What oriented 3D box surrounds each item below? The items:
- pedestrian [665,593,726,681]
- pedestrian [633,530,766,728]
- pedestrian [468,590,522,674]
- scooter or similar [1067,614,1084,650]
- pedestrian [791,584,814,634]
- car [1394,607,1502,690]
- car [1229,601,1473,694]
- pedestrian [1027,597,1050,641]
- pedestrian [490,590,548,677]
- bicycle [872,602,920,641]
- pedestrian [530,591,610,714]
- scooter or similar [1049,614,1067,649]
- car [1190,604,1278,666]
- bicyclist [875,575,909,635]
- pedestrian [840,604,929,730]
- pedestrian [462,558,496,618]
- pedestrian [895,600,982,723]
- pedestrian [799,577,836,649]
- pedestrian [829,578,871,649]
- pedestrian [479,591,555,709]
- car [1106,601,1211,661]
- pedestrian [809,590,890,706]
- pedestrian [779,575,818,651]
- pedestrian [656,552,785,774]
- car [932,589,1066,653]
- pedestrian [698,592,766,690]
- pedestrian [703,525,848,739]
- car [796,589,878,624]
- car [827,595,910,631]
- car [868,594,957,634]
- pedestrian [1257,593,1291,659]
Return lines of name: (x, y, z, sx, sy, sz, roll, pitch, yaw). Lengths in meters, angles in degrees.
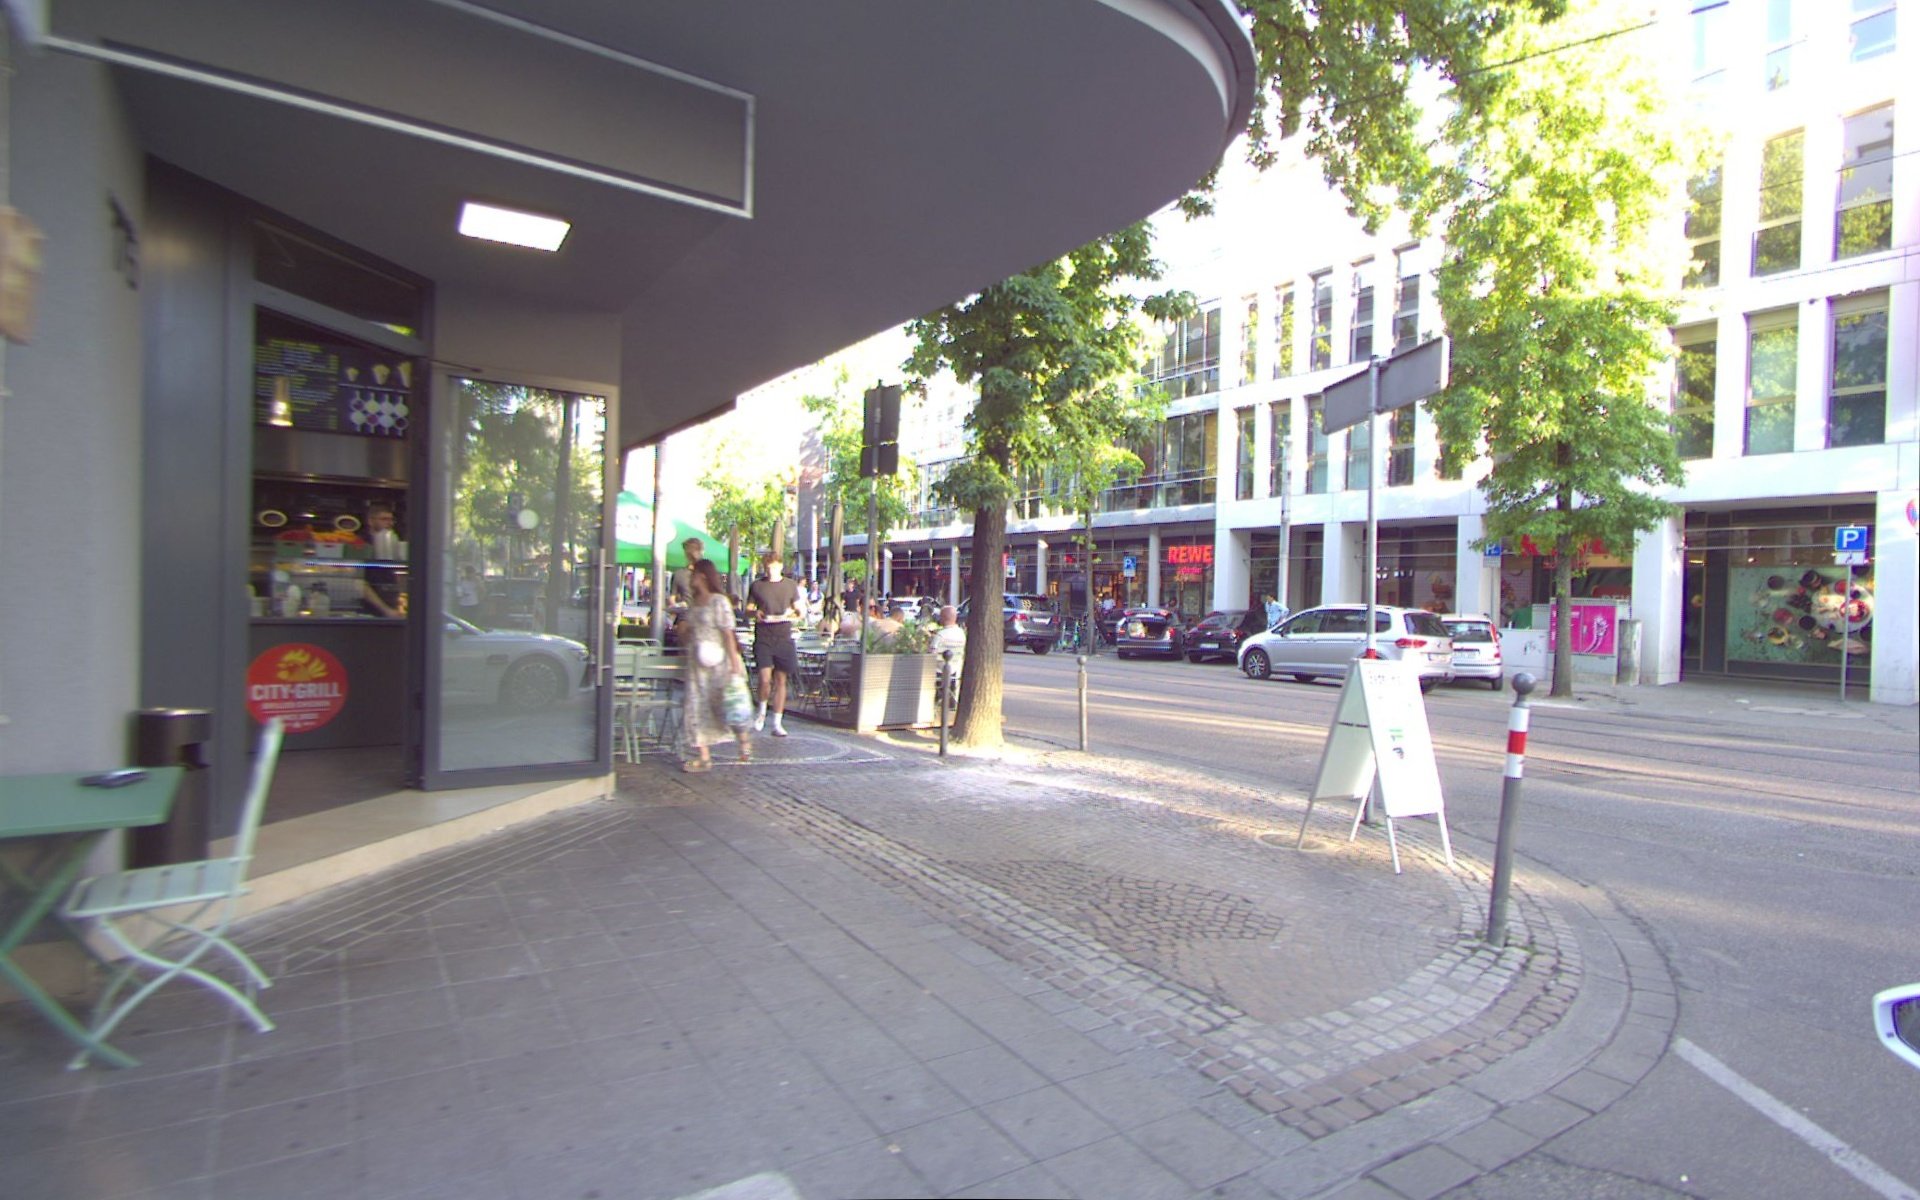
pedestrian: (-4.349, 0.592, 16.497, 0.724, 1.377, 0.706, 1, 2, -37)
pedestrian: (-2.731, 0.298, 10.512, 1.020, 1.927, 1.058, 1, -1, -36)
pedestrian: (-7.454, 0.501, 16.091, 0.648, 1.277, 0.666, 1, 2, -37)
scooter or similar: (3.749, 1.022, 32.484, 0.382, 1.085, 1.807, 2, 0, 10)
pedestrian: (-6.506, 0.385, 41.530, 0.642, 2.040, 0.787, 1, 0, -36)
car: (10.904, 0.986, 22.305, 1.916, 1.526, 3.990, 1, 2, 30)
car: (7.745, 0.900, 20.259, 1.811, 1.613, 4.241, 4, -1, -36)
pedestrian: (3.016, 0.734, 38.644, 0.607, 1.649, 0.635, 1, 0, -43)
pedestrian: (-6.734, 0.500, 15.330, 0.648, 1.277, 0.666, 1, 2, -37)
bicycle: (-2.063, 0.678, 32.046, 0.507, 1.166, 2.035, 1, 1, -36)
pedestrian: (-4.286, 0.553, 11.023, 0.648, 1.277, 0.666, 1, 2, -37)
scooter or similar: (3.198, 1.020, 32.716, 0.382, 1.085, 1.807, 2, 0, 10)
car: (7.799, 0.929, 28.384, 1.562, 1.526, 3.585, 1, 2, 30)
bicyclist: (-2.185, 0.156, 32.198, 0.648, 1.880, 0.981, 1, 0, -35)
pedestrian: (-0.864, 0.742, 11.476, 0.707, 1.346, 0.723, 1, 2, -37)
pedestrian: (-13.304, -0.334, 27.786, 0.703, 1.628, 0.871, 1, 0, -36)
pedestrian: (-0.262, 0.708, 11.964, 0.724, 1.377, 0.706, 1, 2, -37)
pedestrian: (-3.902, 0.362, 27.444, 0.704, 1.927, 1.062, 1, -1, -27)
pedestrian: (-3.050, 0.376, 27.696, 0.816, 1.927, 1.062, 1, -1, -27)
pedestrian: (-5.074, 0.551, 11.498, 0.648, 1.277, 0.666, 1, 2, -37)
car: (5.976, 0.859, 29.924, 1.916, 1.526, 3.990, 1, 2, 30)
pedestrian: (-1.388, 0.581, 12.581, 0.724, 1.377, 0.706, 1, 2, -37)
pedestrian: (-4.245, 0.342, 26.401, 0.704, 1.927, 1.062, 1, -1, -27)
pedestrian: (-1.795, 0.454, 7.588, 0.738, 1.593, 0.602, 1, -1, 13)
car: (1.111, 0.601, 30.830, 1.851, 1.760, 4.241, 3, -1, -36)
pedestrian: (-3.362, 0.584, 14.798, 0.724, 1.377, 0.706, 1, 2, -37)
pedestrian: (-1.797, 0.297, 9.758, 1.020, 1.927, 1.058, 1, -1, -36)
car: (-5.911, 0.308, 48.668, 1.916, 1.526, 3.990, -1, 1, 30)
car: (-4.198, 0.592, 46.746, 1.916, 1.526, 3.990, -1, 1, 30)
car: (-1.948, 0.584, 42.580, 1.916, 1.526, 3.990, -1, 1, 30)
pedestrian: (8.049, 0.663, 25.738, 0.631, 1.649, 0.641, 2, 1, 36)
